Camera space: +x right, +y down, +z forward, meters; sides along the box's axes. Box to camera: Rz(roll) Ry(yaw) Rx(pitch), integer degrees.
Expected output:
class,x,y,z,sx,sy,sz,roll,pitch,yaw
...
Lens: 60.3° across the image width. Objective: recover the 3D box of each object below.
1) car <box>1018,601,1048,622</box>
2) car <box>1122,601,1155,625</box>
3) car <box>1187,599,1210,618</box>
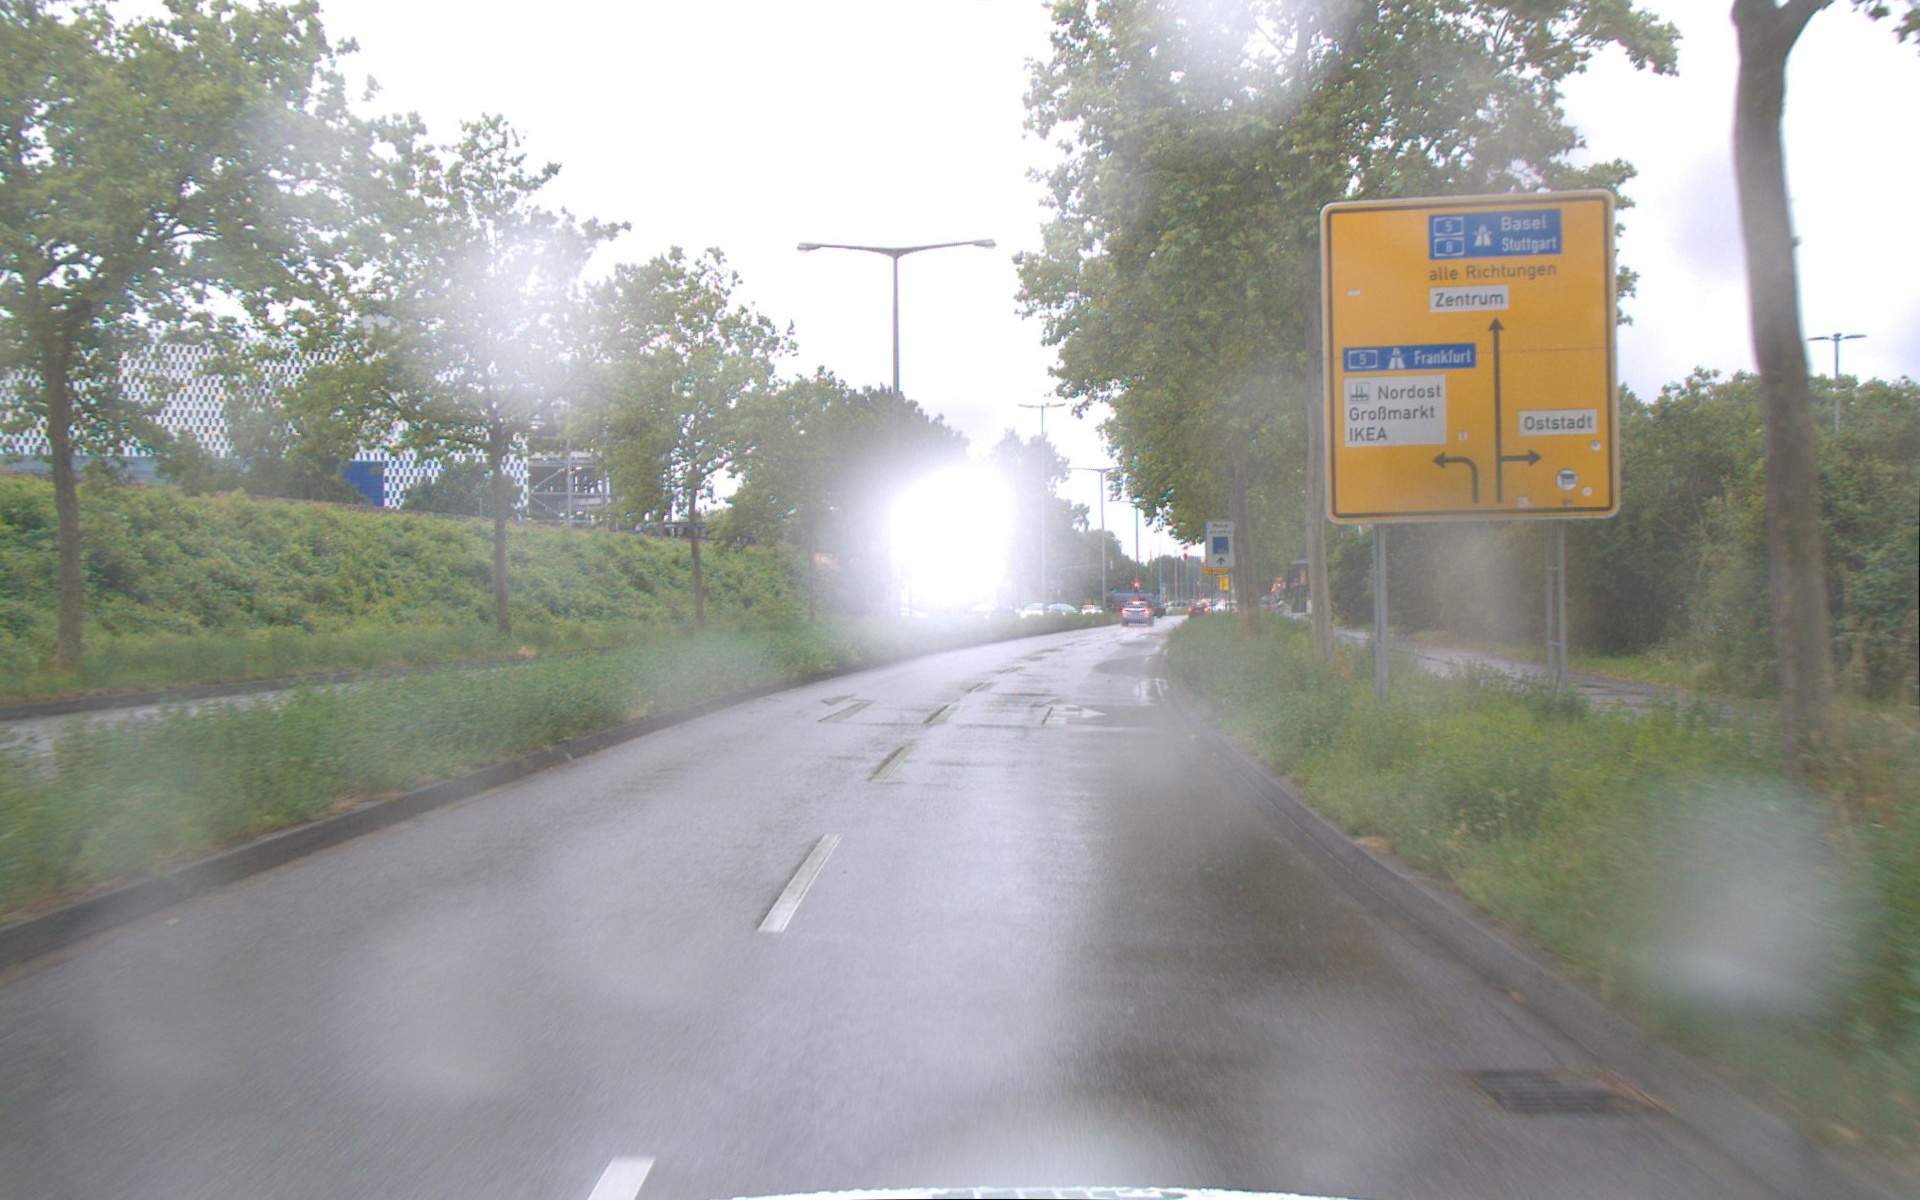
class,x,y,z,sx,sy,sz,roll,pitch,yaw
car,5.256,0.804,118.580,1.665,1.521,4.208,0,0,9
car,10.848,0.797,100.236,1.654,1.458,4.578,0,-1,10
car,20.038,0.690,139.108,1.758,1.564,4.391,1,0,10
